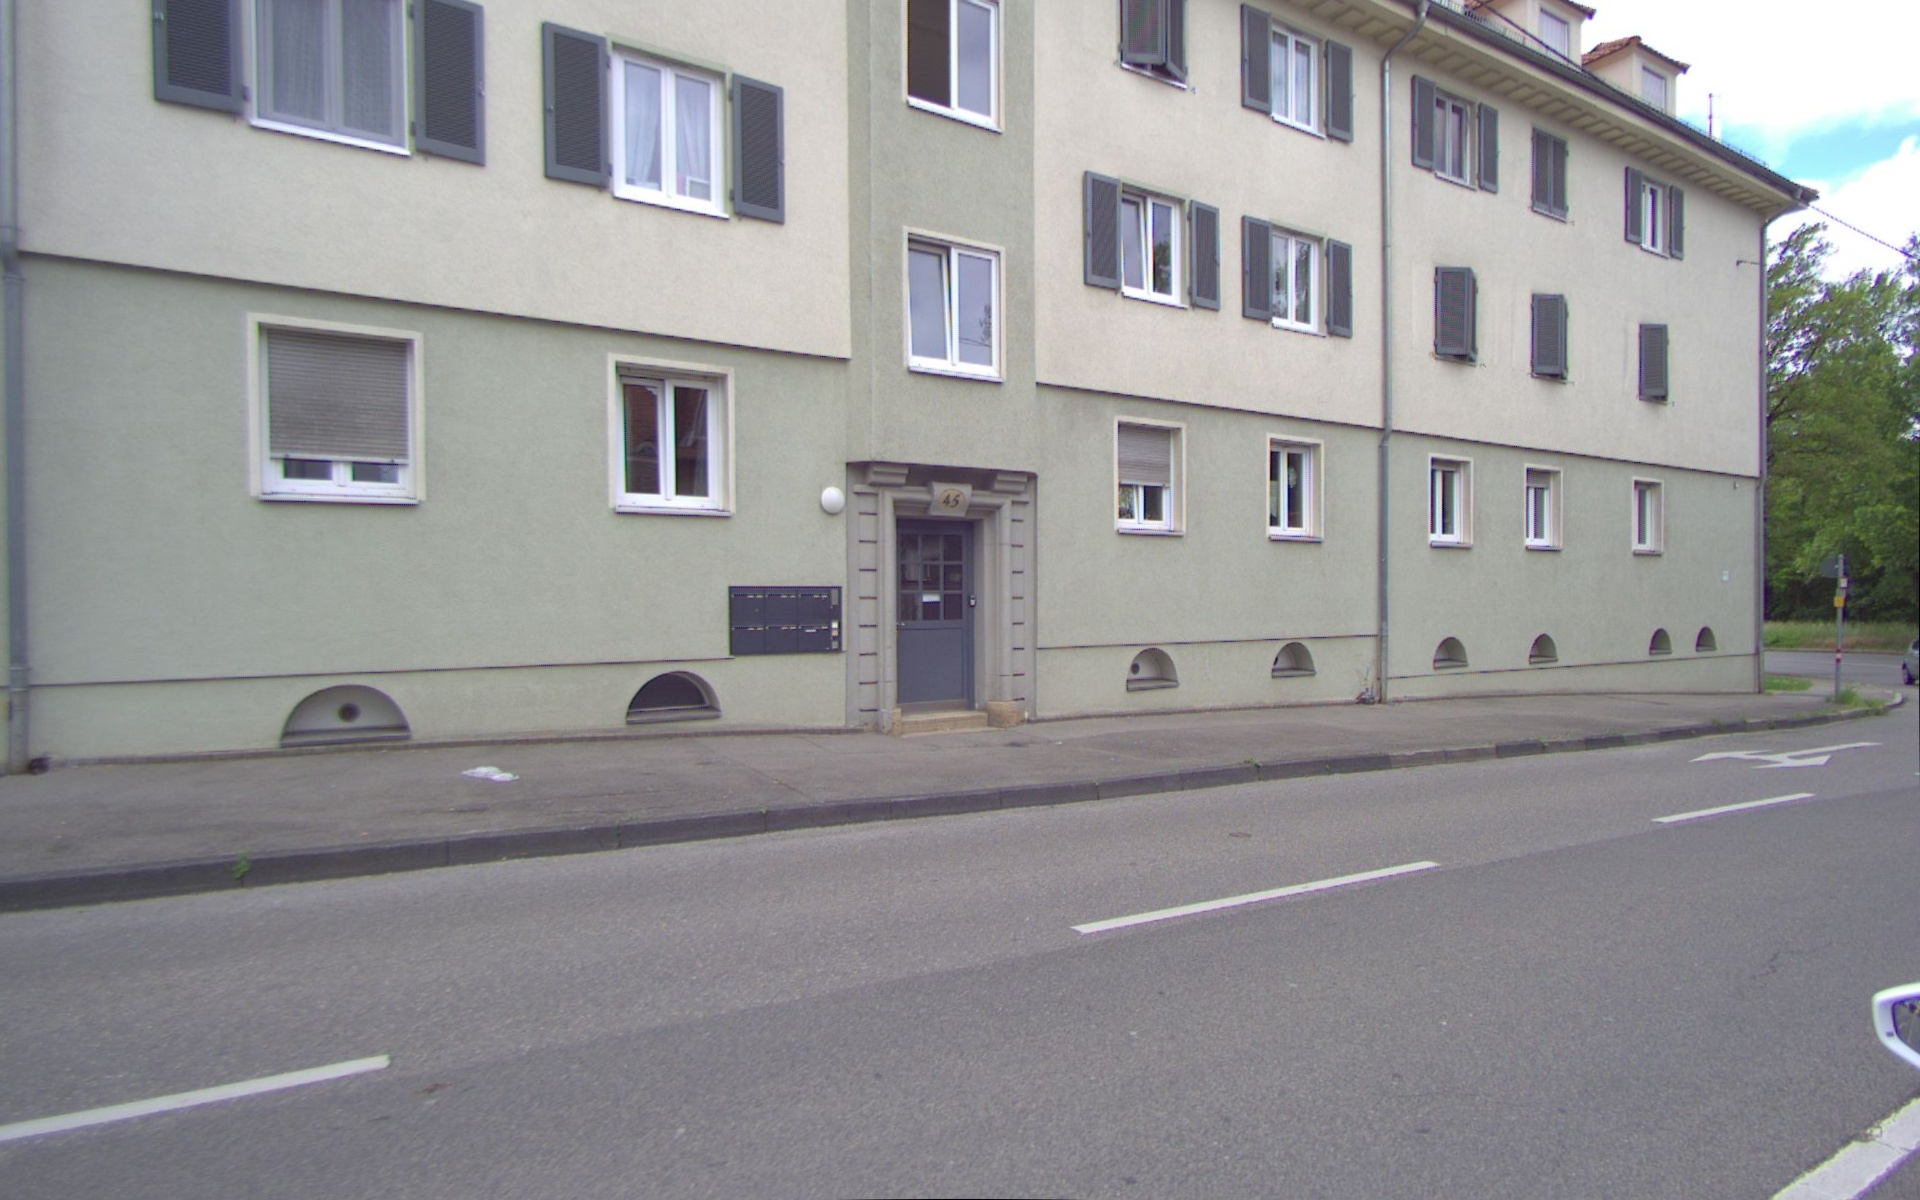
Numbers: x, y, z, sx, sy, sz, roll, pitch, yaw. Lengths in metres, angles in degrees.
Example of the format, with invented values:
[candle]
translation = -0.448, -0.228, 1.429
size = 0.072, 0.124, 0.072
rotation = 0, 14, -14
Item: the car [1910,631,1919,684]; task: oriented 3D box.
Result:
[car]
translation = 30.269, 1.739, 30.516
size = 1.702, 1.626, 3.959
rotation = -2, -3, 39
